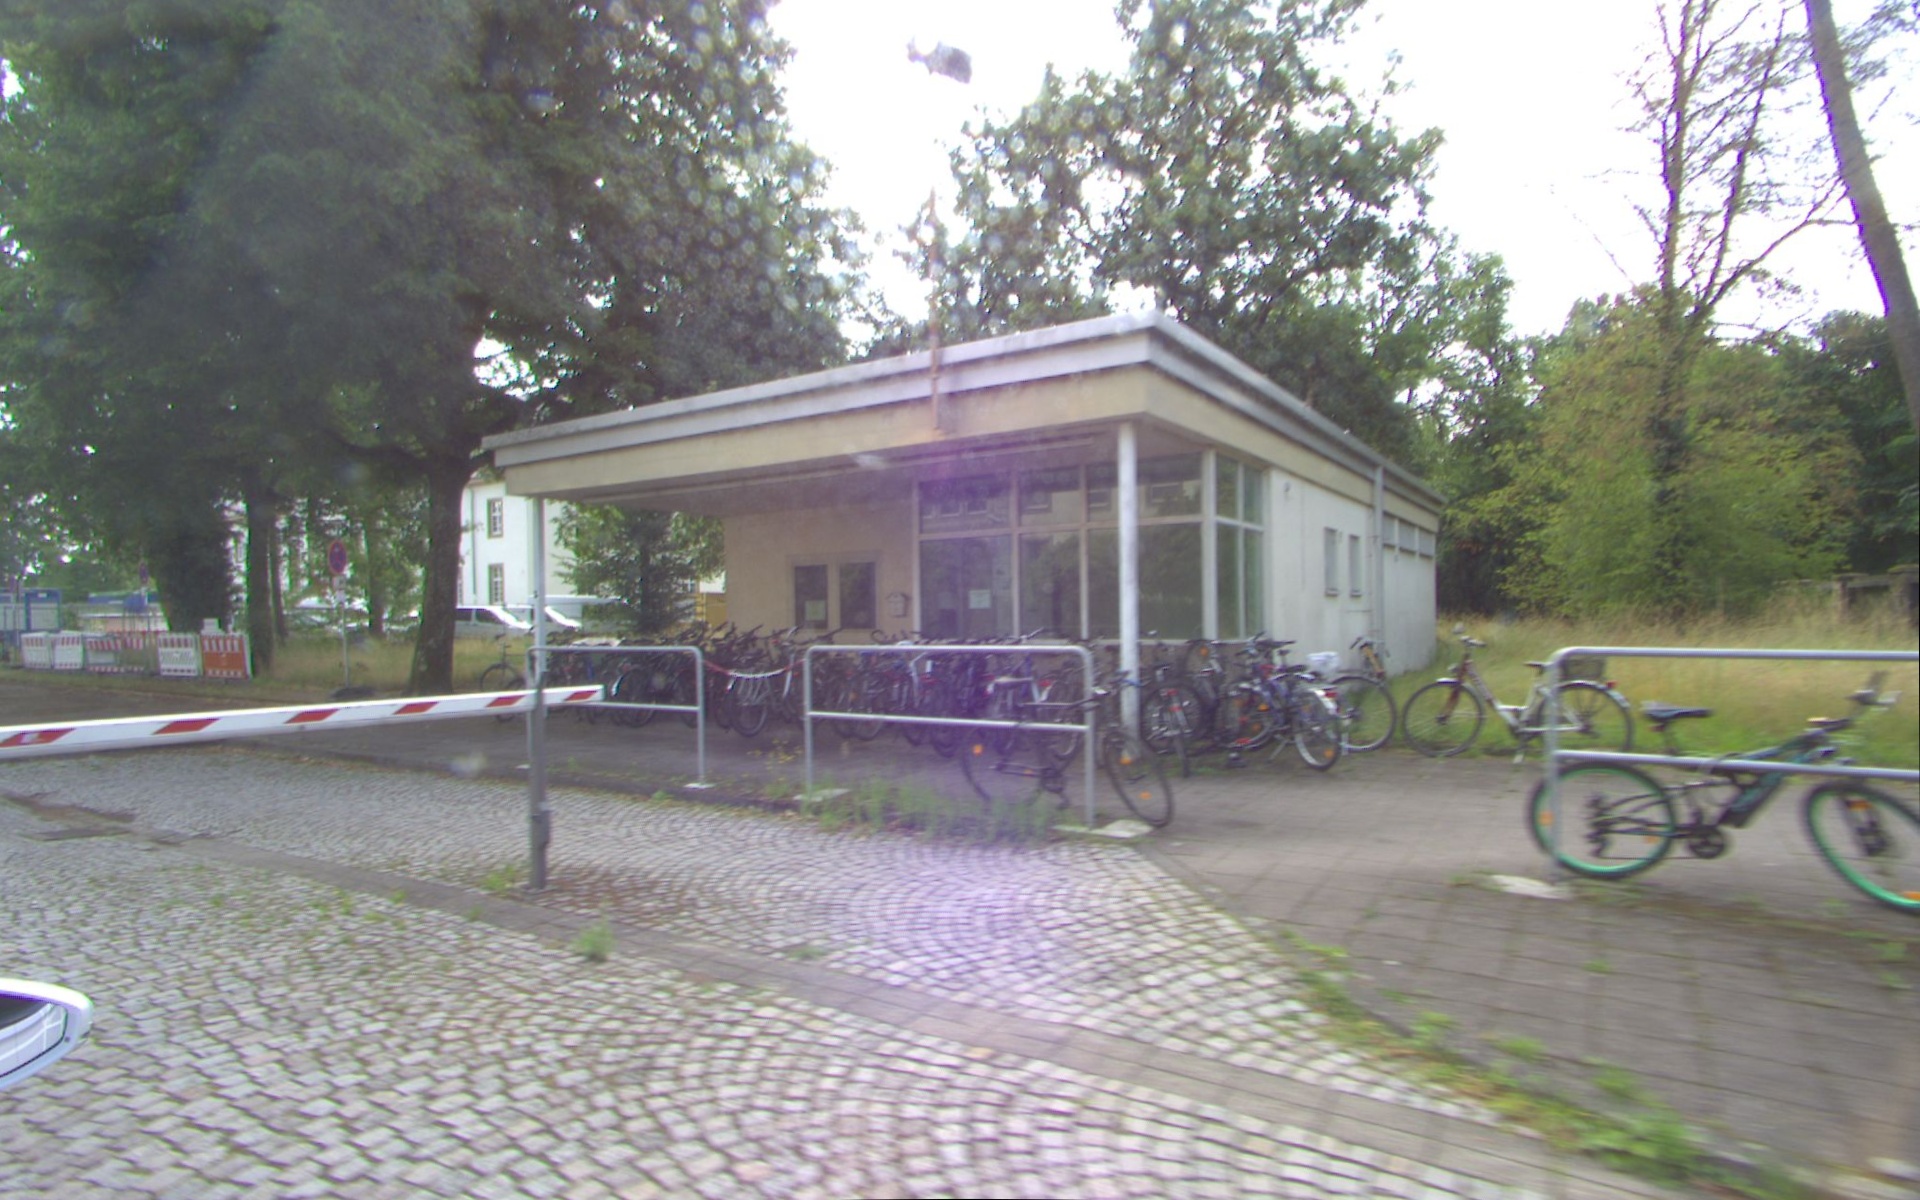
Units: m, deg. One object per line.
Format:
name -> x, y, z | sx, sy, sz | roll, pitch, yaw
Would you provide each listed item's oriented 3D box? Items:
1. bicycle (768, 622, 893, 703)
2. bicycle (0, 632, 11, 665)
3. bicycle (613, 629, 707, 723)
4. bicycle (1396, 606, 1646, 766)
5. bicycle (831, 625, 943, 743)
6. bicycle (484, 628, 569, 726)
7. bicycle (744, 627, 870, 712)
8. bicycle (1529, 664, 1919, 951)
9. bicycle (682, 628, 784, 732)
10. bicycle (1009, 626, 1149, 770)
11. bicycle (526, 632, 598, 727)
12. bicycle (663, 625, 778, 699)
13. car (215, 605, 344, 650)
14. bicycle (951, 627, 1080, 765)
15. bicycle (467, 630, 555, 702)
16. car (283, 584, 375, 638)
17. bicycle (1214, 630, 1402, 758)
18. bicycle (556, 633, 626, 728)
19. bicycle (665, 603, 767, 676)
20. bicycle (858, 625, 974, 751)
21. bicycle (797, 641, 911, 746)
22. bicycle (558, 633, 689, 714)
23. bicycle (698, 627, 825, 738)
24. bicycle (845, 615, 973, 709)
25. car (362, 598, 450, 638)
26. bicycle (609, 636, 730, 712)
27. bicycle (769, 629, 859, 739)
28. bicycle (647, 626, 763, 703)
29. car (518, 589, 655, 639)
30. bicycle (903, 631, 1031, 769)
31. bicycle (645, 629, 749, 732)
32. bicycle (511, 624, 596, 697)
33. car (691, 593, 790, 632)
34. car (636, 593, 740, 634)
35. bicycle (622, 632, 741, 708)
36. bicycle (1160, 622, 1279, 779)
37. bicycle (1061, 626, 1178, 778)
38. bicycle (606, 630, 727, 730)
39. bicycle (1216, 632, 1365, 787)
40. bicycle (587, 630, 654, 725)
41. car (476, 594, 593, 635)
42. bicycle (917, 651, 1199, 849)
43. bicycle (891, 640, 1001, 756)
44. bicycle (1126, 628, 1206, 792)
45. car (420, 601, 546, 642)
bicycle -> -1.929, 0.937, 14.866 | 1.866, 1.133, 0.371 | -3, 0, 22
bicycle -> -30.992, 1.571, 32.140 | 1.702, 1.020, 0.331 | -3, -1, 32
bicycle -> -4.040, 1.005, 13.568 | 0.353, 1.186, 1.378 | -3, -1, 24
bicycle -> 4.542, 0.678, 8.215 | 0.432, 1.186, 1.708 | -2, -1, -44
bicycle -> -0.784, 0.908, 11.393 | 0.394, 1.186, 1.980 | -3, -1, 22
bicycle -> -5.781, 1.002, 13.423 | 0.425, 1.186, 1.382 | -3, 0, 2
bicycle -> -2.209, 0.980, 14.405 | 1.866, 1.134, 0.371 | 0, 1, 22
bicycle -> 3.534, 0.866, 4.589 | 1.572, 1.071, 0.728 | -1, 0, 33
bicycle -> -2.827, 0.972, 12.667 | 0.488, 1.186, 1.805 | -3, -1, 12
bicycle -> 1.196, 0.878, 9.617 | 0.479, 1.186, 2.066 | -3, -1, 31
bicycle -> -5.290, 1.029, 13.380 | 0.352, 1.186, 1.383 | -3, -1, 1
bicycle -> -3.780, 0.982, 15.763 | 1.866, 1.097, 0.371 | -3, 0, 22
car -> -29.373, 1.181, 43.350 | 1.973, 1.844, 4.208 | -2, -1, 34
bicycle -> 0.599, 0.889, 9.895 | 0.478, 1.186, 1.947 | -3, -1, 27
bicycle -> -7.480, 1.075, 16.669 | 1.561, 1.101, 0.503 | 1, 1, 29
car -> -30.796, 0.587, 48.792 | 5.288, 2.455, 1.987 | -2, -1, 36
bicycle -> 3.187, 0.830, 9.231 | 1.572, 1.098, 0.434 | -1, 0, 32
bicycle -> -4.892, 1.039, 13.342 | 0.352, 1.186, 1.383 | -3, -1, 1
bicycle -> -4.018, 0.659, 16.436 | 1.871, 1.143, 0.370 | -3, -1, 31
bicycle -> -0.426, 0.886, 10.812 | 0.394, 1.186, 2.016 | 1, 0, 24
bicycle -> -1.171, 1.032, 11.554 | 0.394, 1.042, 1.980 | -3, -1, 22
bicycle -> -4.821, 1.045, 14.376 | 1.764, 1.133, 0.446 | -1, 0, 7
bicycle -> -2.316, 0.937, 11.905 | 0.574, 1.186, 1.802 | -3, -1, 21
bicycle -> -0.654, 0.797, 13.427 | 0.441, 1.133, 1.880 | -2, -1, 45
car -> -28.990, 0.951, 52.393 | 4.771, 2.040, 1.989 | -1, 0, 33
bicycle -> -4.287, 1.074, 14.756 | 1.880, 1.081, 0.371 | -1, 0, 22
bicycle -> -1.696, 0.952, 11.844 | 0.394, 1.174, 1.704 | -3, -1, 14
bicycle -> -3.934, 0.989, 15.405 | 1.866, 1.133, 0.371 | -1, 0, 22
car -> -18.710, 0.723, 50.317 | 6.079, 2.338, 2.000 | -1, -1, 2
bicycle -> 0.121, 0.941, 10.036 | 0.386, 1.186, 2.070 | -3, -1, 26
bicycle -> -3.328, 0.992, 12.829 | 0.488, 1.186, 1.749 | -3, -1, 12
bicycle -> -6.934, 1.040, 17.050 | 1.533, 1.186, 0.503 | -3, -1, 32
car -> -12.854, 0.724, 58.495 | 5.618, 1.982, 2.435 | -4, -1, 35
car -> -15.069, 0.750, 55.327 | 5.618, 1.982, 2.435 | -4, -1, 35
bicycle -> -4.208, 1.067, 15.114 | 1.867, 1.095, 0.371 | -3, 0, 22
bicycle -> 2.208, 0.805, 8.702 | 0.428, 1.186, 1.652 | -3, 0, -5
bicycle -> 1.417, 0.845, 8.739 | 0.430, 1.186, 1.388 | -3, -1, 33
bicycle -> -3.812, 1.012, 13.155 | 0.353, 1.186, 1.799 | -3, -1, 27
bicycle -> 2.797, 0.880, 8.652 | 0.428, 1.134, 1.651 | -2, 1, -12
bicycle -> -4.501, 0.999, 13.339 | 0.352, 1.186, 1.383 | -3, -1, 1
car -> -20.197, 0.711, 47.640 | 4.746, 1.812, 2.000 | -1, -1, 5
bicycle -> 0.621, 0.904, 6.546 | 1.690, 1.087, 0.728 | -1, 0, 33
bicycle -> -0.104, 0.971, 10.399 | 0.348, 1.044, 1.769 | -3, -1, 26
bicycle -> 1.710, 0.863, 8.471 | 0.428, 1.186, 1.652 | -3, 0, 5
car -> -21.427, 0.968, 45.119 | 4.746, 1.671, 2.000 | -1, -1, 5
